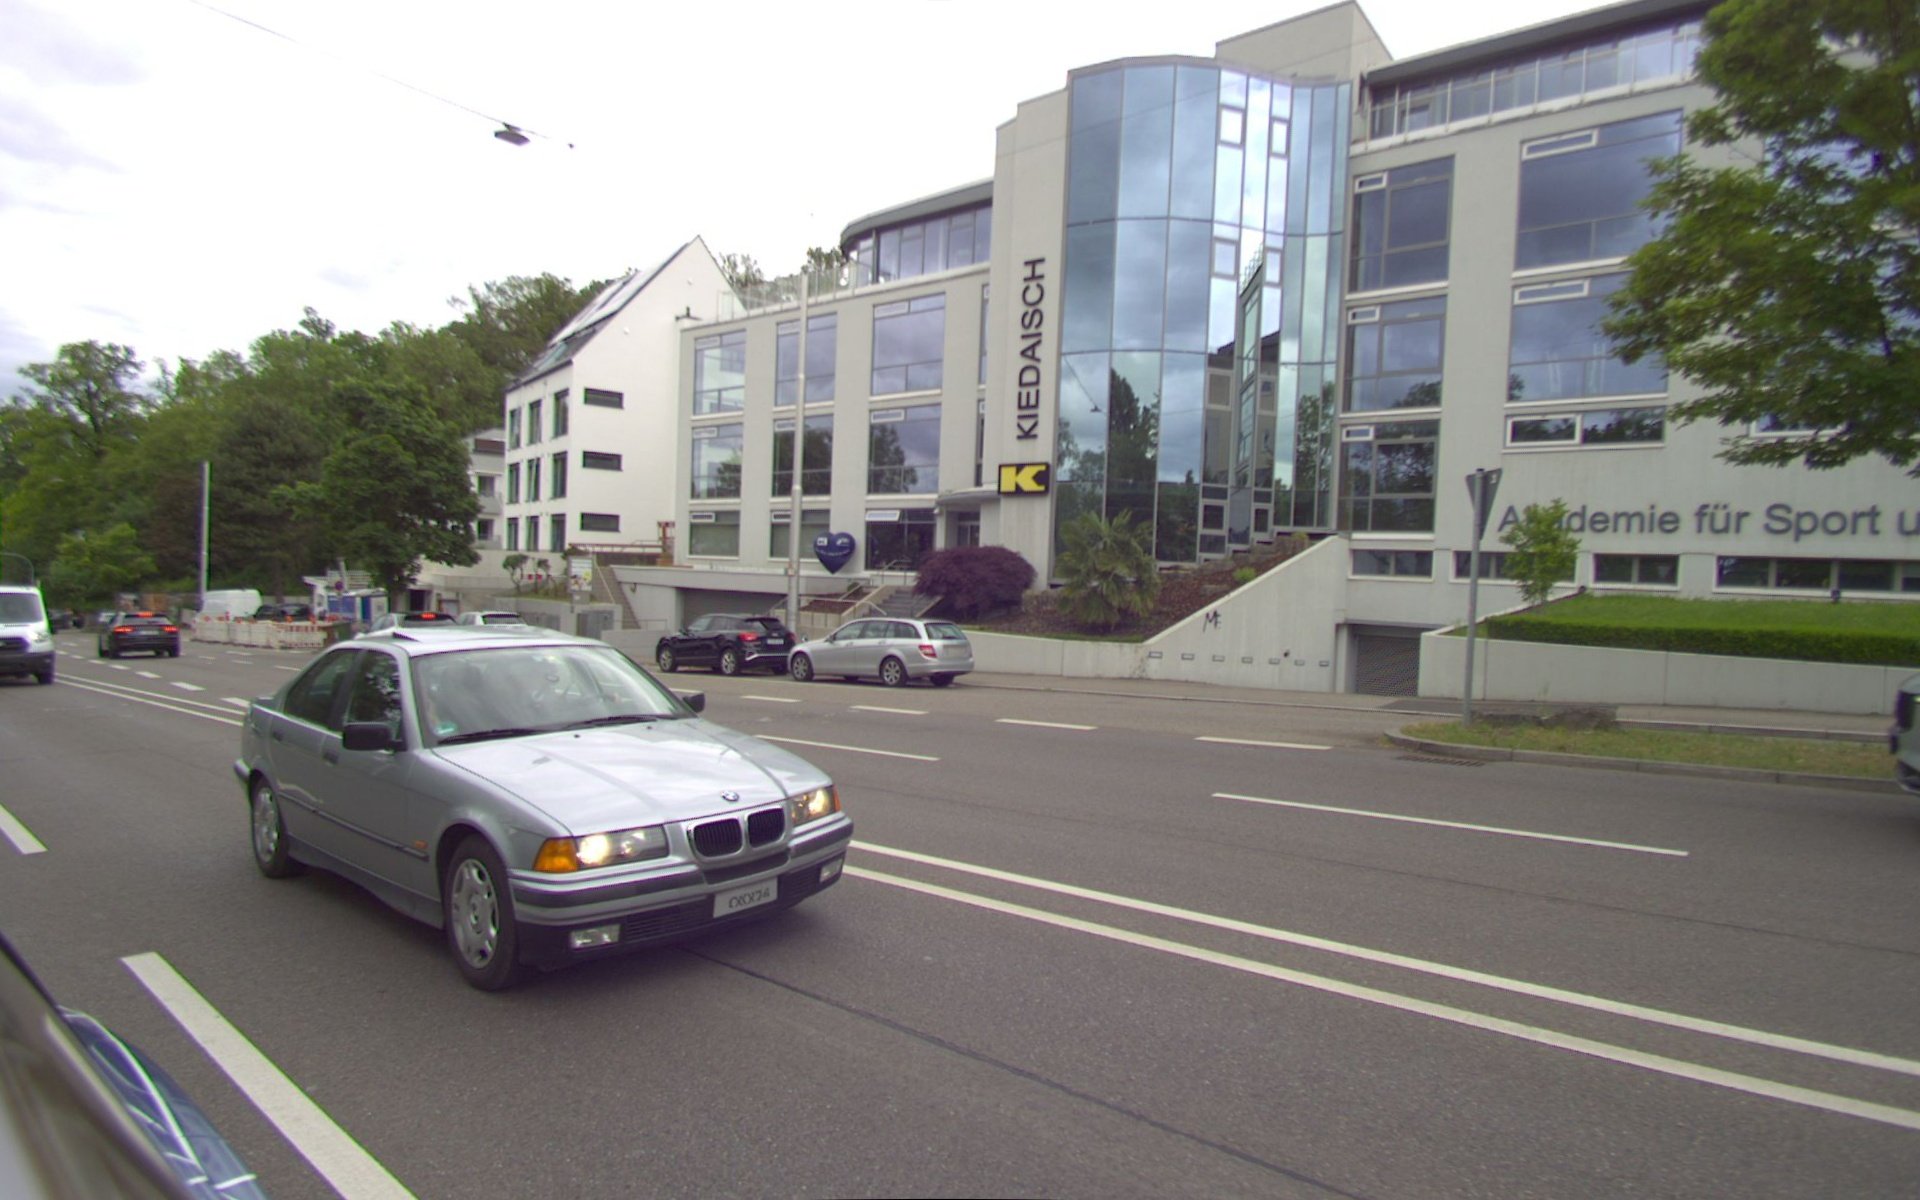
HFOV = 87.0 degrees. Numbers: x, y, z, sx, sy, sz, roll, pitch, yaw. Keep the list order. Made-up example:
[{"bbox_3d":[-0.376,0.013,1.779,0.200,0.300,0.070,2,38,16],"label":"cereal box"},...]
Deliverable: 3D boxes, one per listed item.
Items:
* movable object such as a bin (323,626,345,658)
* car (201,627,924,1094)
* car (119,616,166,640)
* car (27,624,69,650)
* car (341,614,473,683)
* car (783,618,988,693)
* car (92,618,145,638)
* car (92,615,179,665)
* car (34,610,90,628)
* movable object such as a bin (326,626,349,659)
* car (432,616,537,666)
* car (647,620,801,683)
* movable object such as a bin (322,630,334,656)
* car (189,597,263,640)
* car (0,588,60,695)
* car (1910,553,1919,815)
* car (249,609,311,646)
[{"bbox_3d":[-22.823,1.520,36.887,0.577,1.146,0.586,0,-1,-43],"label":"movable object such as a bin"},{"bbox_3d":[-2.418,0.871,5.313,4.618,1.393,1.617,-1,0,42],"label":"car"},{"bbox_3d":[-52.093,1.770,64.464,3.289,1.454,1.564,-1,0,36],"label":"car"},{"bbox_3d":[-61.439,2.462,68.167,4.226,1.609,1.756,-1,0,44],"label":"car"},{"bbox_3d":[-13.650,1.132,24.878,3.923,1.553,1.780,-1,-1,44],"label":"car"},{"bbox_3d":[-1.664,1.148,21.654,4.412,1.439,1.657,-1,-4,39],"label":"car"},{"bbox_3d":[-66.929,2.213,80.550,1.561,1.453,3.295,-1,0,0],"label":"car"},{"bbox_3d":[-30.333,1.432,37.181,4.762,1.716,1.827,-1,-2,43],"label":"car"},{"bbox_3d":[-68.375,1.438,77.069,3.260,1.294,1.562,-1,0,11],"label":"car"},{"bbox_3d":[-22.389,1.511,36.413,0.581,1.146,0.646,0,-1,-43],"label":"movable object such as a bin"},{"bbox_3d":[-15.564,1.289,33.046,4.238,1.515,1.650,-1,-2,43],"label":"car"},{"bbox_3d":[-5.925,1.223,25.178,4.088,1.439,1.655,-1,-1,41],"label":"car"},{"bbox_3d":[-24.090,1.629,38.586,0.322,0.982,0.426,0,-1,-43],"label":"movable object such as a bin"},{"bbox_3d":[-45.302,1.125,62.398,6.526,2.545,1.974,-1,0,39],"label":"car"},{"bbox_3d":[-22.200,0.923,22.723,6.261,2.190,1.974,-2,-1,39],"label":"car"},{"bbox_3d":[7.865,0.528,4.744,4.868,1.721,1.745,-1,-1,41],"label":"car"},{"bbox_3d":[-34.620,1.381,51.483,1.786,1.764,4.253,-1,0,-45],"label":"car"}]
